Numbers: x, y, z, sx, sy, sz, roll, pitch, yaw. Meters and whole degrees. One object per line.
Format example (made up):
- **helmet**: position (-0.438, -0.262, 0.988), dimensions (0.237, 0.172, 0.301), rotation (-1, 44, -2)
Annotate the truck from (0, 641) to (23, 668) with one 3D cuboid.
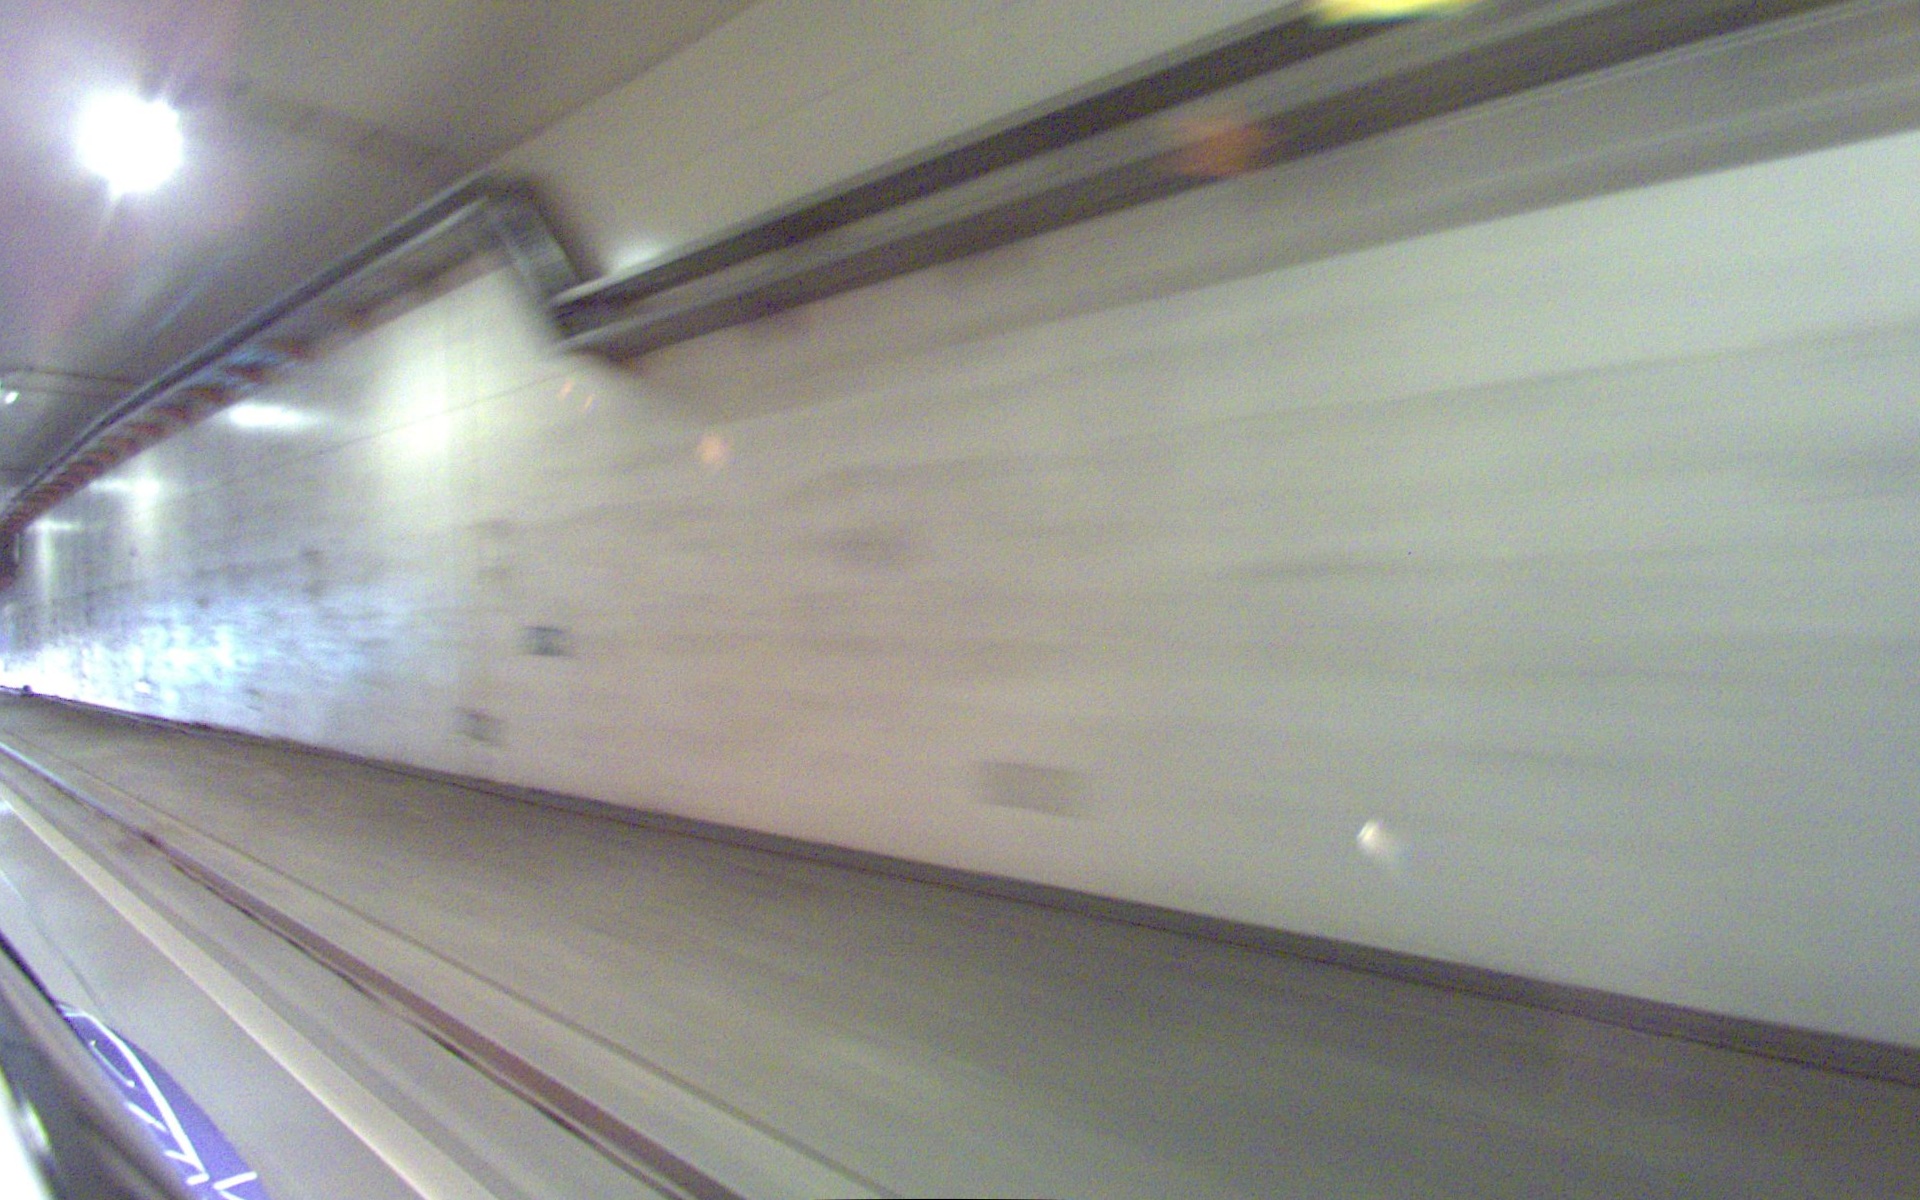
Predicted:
- **truck**: position (-110.007, 6.275, 116.720), dimensions (2.106, 2.748, 5.683), rotation (-4, 3, -38)
